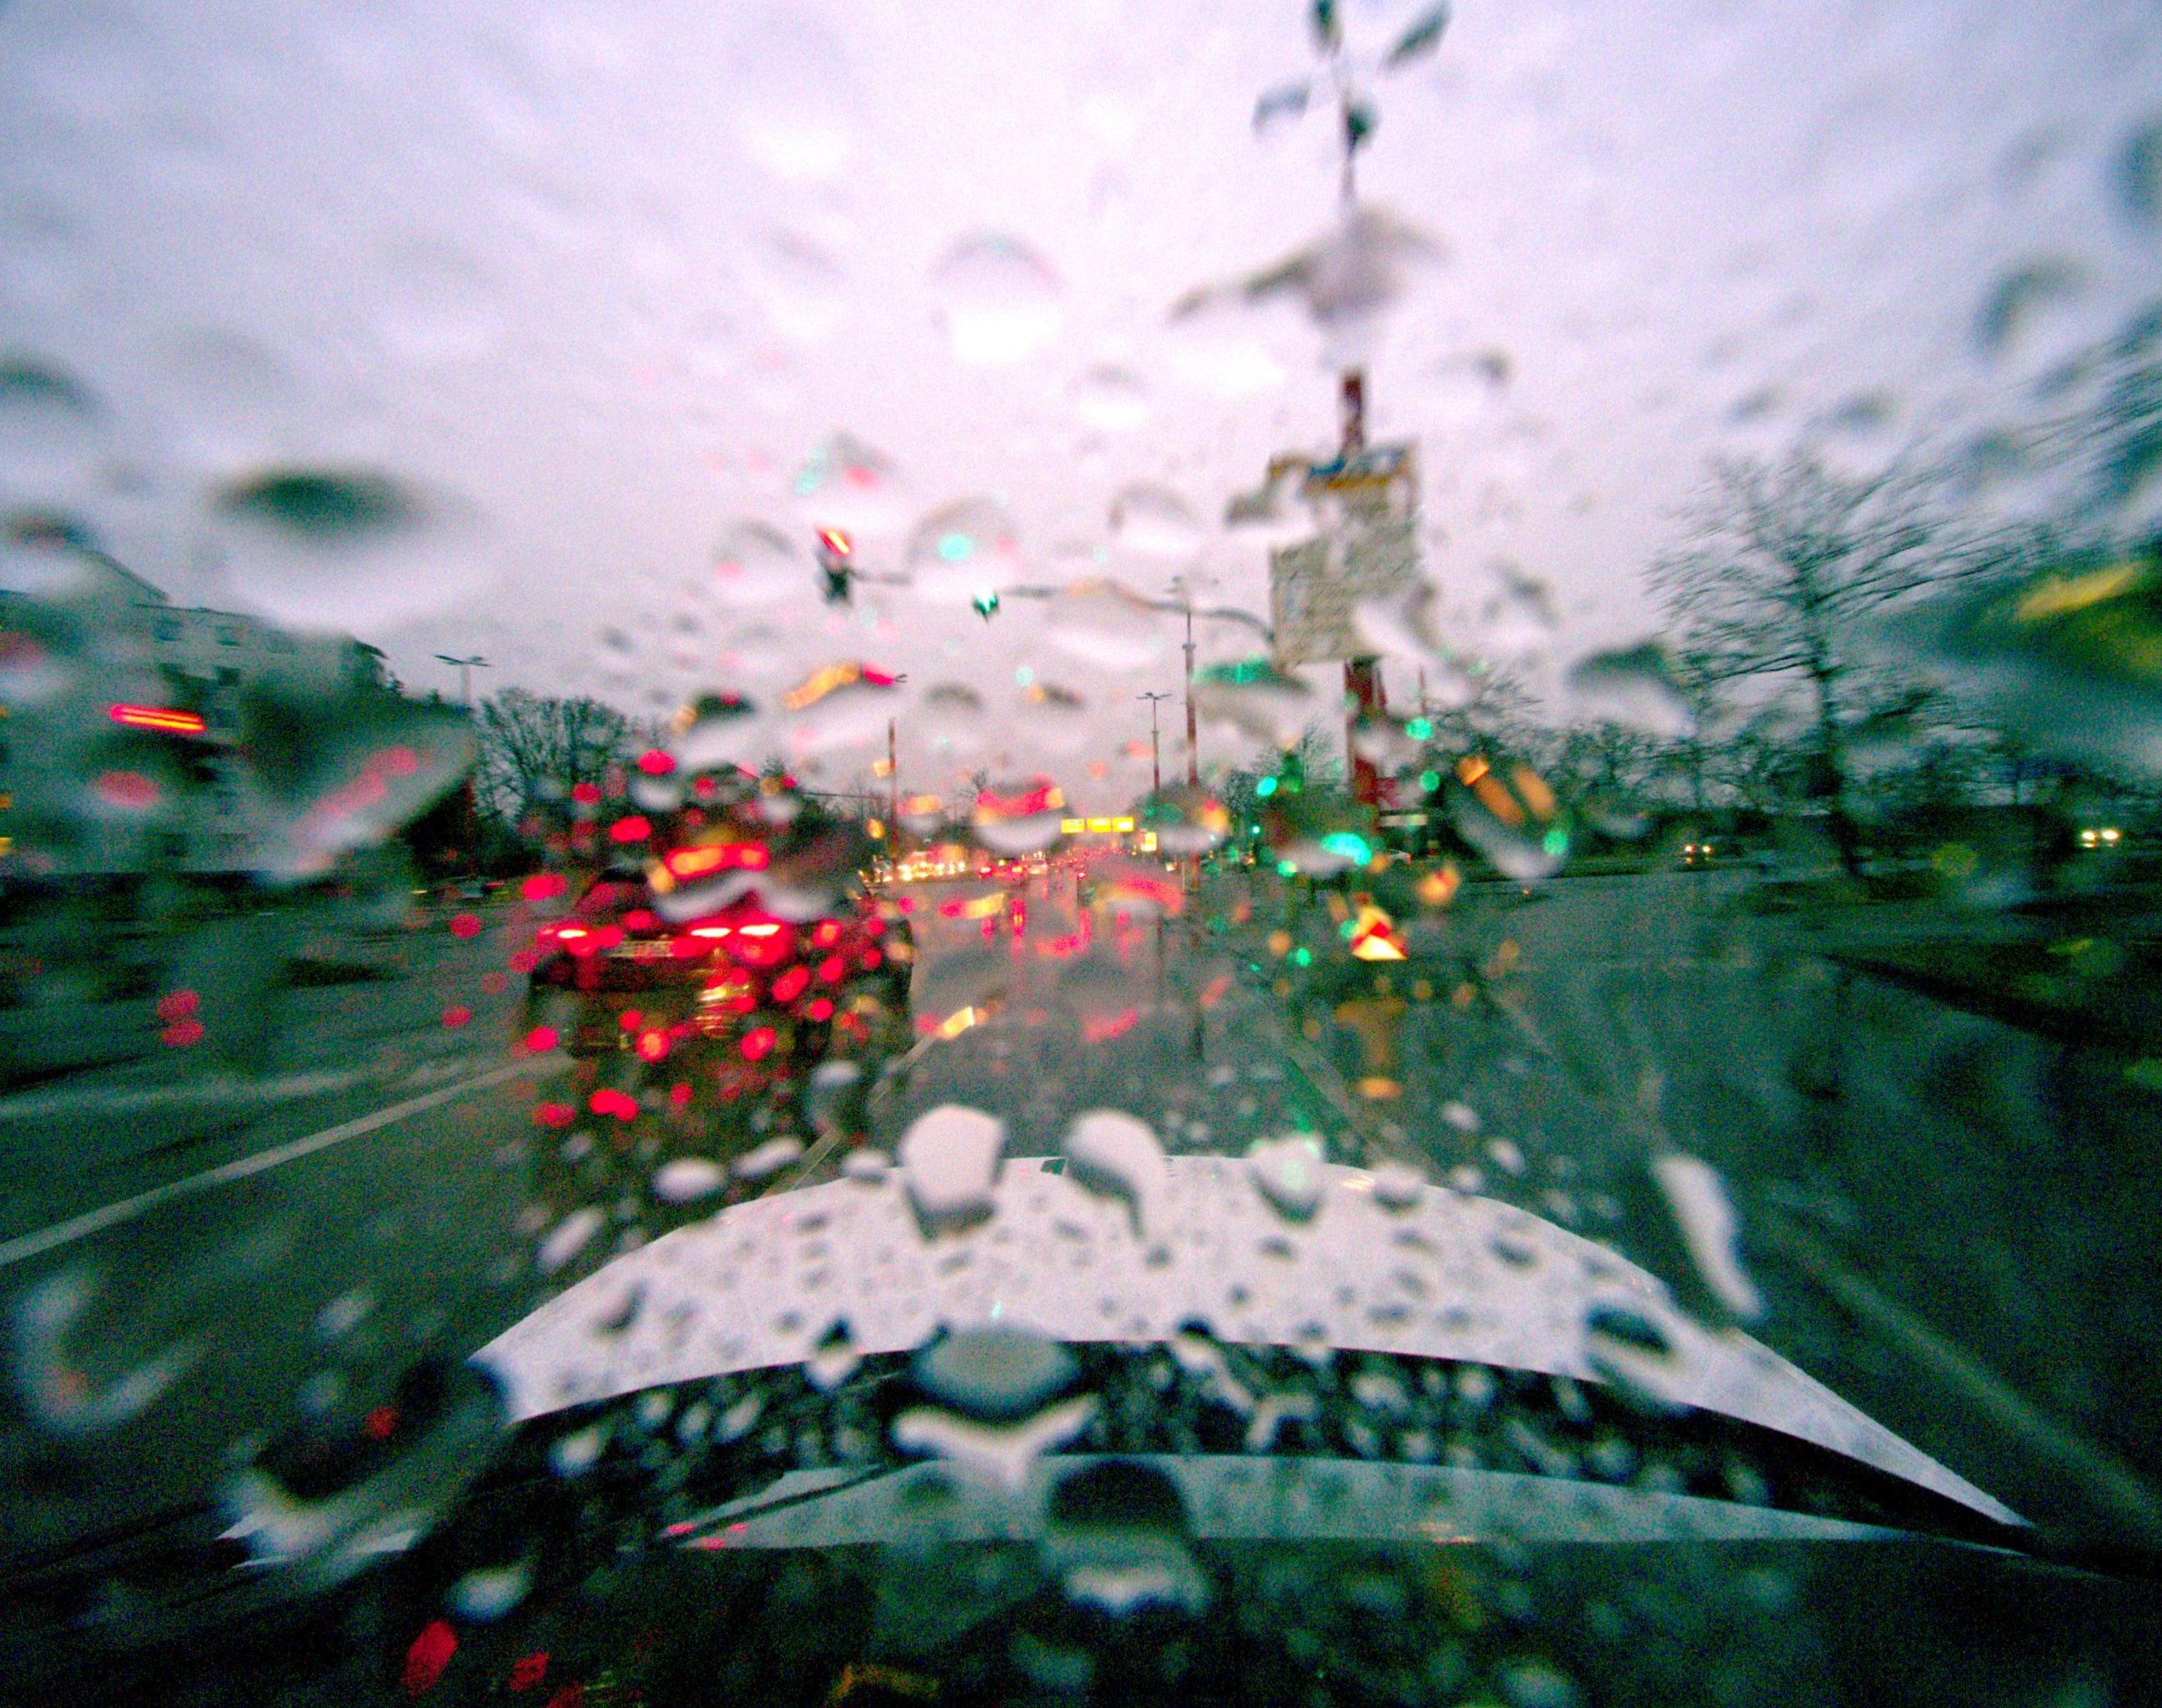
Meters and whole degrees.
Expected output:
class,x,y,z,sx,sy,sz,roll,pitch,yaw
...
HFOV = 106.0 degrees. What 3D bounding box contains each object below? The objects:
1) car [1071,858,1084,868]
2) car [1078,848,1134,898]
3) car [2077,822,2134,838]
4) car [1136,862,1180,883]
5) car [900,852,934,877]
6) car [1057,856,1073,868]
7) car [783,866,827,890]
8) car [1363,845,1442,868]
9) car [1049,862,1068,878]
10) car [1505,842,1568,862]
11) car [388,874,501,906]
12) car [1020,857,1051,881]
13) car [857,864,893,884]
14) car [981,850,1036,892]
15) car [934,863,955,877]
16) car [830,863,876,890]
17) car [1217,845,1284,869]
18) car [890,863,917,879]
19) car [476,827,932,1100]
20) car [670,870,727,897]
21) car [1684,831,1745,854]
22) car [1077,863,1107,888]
class,x,y,z,sx,sy,sz,roll,pitch,yaw
car,-0.545,1.525,133.060,1.986,1.577,4.002,0,-1,2
car,0.902,0.655,28.676,1.815,1.648,4.468,0,-1,2
car,92.805,-2.175,73.774,3.881,1.345,1.651,-2,0,-13
car,6.238,1.479,66.630,1.939,1.648,4.437,0,-1,-19
car,-19.863,1.274,98.913,2.282,3.005,7.351,0,-1,3
car,-2.038,1.032,104.287,1.815,1.504,4.002,-1,0,2
car,-17.913,1.539,53.035,1.646,1.420,3.327,-2,0,1
car,21.930,0.173,55.705,4.708,1.376,1.889,-2,-1,11
car,-2.028,1.447,74.932,1.499,1.339,4.002,-1,0,2
car,32.216,-0.123,57.548,3.999,1.309,1.627,-2,0,-19
car,-34.554,1.913,44.307,1.974,1.530,4.513,-2,0,39
car,-3.262,1.067,59.170,1.815,1.648,4.002,-1,0,2
car,-17.085,1.629,67.703,1.764,1.533,4.526,-2,0,1
car,-3.002,0.683,34.522,1.815,1.648,4.002,-1,0,2
car,-16.126,1.881,96.471,1.764,1.586,4.034,-2,0,1
car,-14.812,1.416,53.095,1.851,1.582,4.079,-2,0,0
car,12.351,0.218,59.423,4.353,1.618,1.833,-2,-1,33
car,-19.499,1.855,89.539,1.763,1.536,4.449,-2,0,3
car,-2.748,0.692,7.264,1.815,1.648,4.468,-1,0,2
car,-24.354,1.854,51.996,1.612,1.495,4.018,-2,0,1
car,49.001,-0.893,63.023,3.881,1.635,1.651,-2,0,-13
car,0.791,1.495,56.683,1.986,1.662,4.001,0,-1,2
